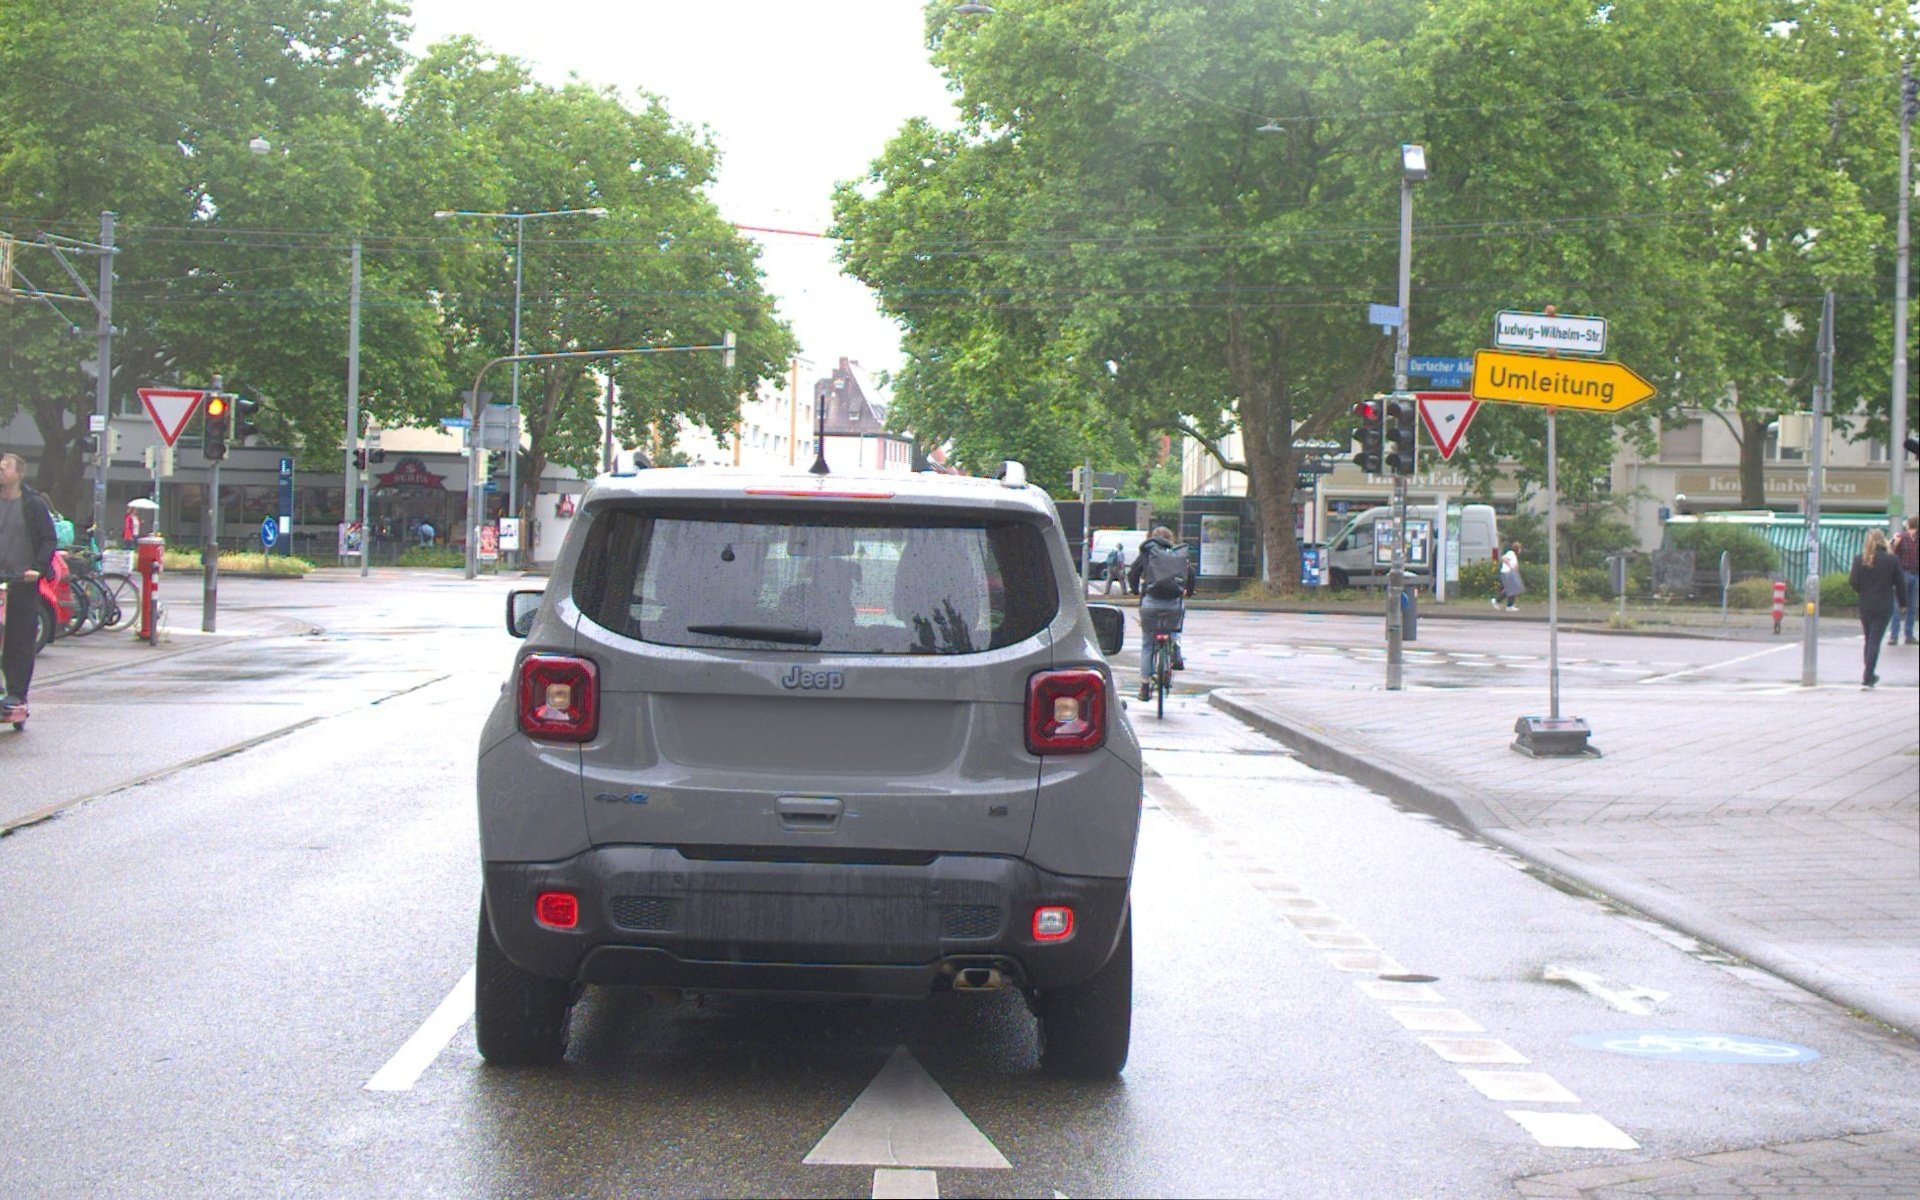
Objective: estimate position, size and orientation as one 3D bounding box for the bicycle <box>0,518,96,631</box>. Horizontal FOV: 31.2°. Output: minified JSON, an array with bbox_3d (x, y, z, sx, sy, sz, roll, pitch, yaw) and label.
[{"bbox_3d":[-10.831,-0.296,39.242,1.810,1.262,0.498,1,1,-1],"label":"bicycle"}]

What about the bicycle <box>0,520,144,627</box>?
[{"bbox_3d":[-10.884,-0.323,41.834,1.763,1.262,0.608,1,1,-1],"label":"bicycle"}]

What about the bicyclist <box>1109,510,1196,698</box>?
[{"bbox_3d":[1.670,0.024,29.922,0.687,1.612,0.884,0,1,-1],"label":"bicyclist"}]

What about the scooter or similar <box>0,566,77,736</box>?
[{"bbox_3d":[-6.848,0.347,24.686,0.700,1.161,1.385,1,1,-2],"label":"scooter or similar"}]

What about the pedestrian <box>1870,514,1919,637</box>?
[{"bbox_3d":[13.578,-0.364,49.721,0.786,1.753,0.945,1,1,15],"label":"pedestrian"}]

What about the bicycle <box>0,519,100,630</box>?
[{"bbox_3d":[-10.963,-0.307,39.927,1.810,1.262,0.498,1,1,-1],"label":"bicycle"}]

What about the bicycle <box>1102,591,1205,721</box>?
[{"bbox_3d":[1.668,0.461,29.999,0.691,1.018,2.658,0,1,-1],"label":"bicycle"}]

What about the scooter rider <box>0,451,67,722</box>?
[{"bbox_3d":[-6.848,-0.103,24.750,0.710,1.928,0.504,1,1,-2],"label":"scooter rider"}]

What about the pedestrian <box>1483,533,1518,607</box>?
[{"bbox_3d":[11.865,-0.663,75.435,0.613,1.598,0.493,2,1,24],"label":"pedestrian"}]

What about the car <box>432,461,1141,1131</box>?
[{"bbox_3d":[-0.471,0.446,10.574,1.775,1.681,3.848,0,1,-1],"label":"car"}]

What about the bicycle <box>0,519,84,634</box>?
[{"bbox_3d":[-10.811,-0.275,38.695,1.763,1.262,0.522,1,1,-1],"label":"bicycle"}]

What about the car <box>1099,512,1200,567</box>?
[{"bbox_3d":[6.948,-2.214,125.986,3.438,2.007,1.547,1,1,14],"label":"car"}]

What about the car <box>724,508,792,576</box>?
[{"bbox_3d":[-5.374,-1.559,91.293,1.721,1.733,3.730,1,1,-4],"label":"car"}]

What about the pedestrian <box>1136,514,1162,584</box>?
[{"bbox_3d":[5.458,-1.463,99.172,0.651,2.007,0.482,2,1,12],"label":"pedestrian"}]

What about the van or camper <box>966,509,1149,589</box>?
[{"bbox_3d":[3.722,-1.963,131.594,6.536,2.902,2.491,2,1,27],"label":"van or camper"}]

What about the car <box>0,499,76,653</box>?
[{"bbox_3d":[-10.948,-0.272,34.915,3.393,1.552,1.705,0,2,-39],"label":"car"}]

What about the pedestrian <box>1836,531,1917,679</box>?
[{"bbox_3d":[10.337,0.044,38.772,0.783,1.640,0.654,1,1,23],"label":"pedestrian"}]

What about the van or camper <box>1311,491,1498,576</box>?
[{"bbox_3d":[13.048,-1.961,101.238,5.260,2.307,2.090,2,2,4],"label":"van or camper"}]

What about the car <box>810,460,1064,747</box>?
[{"bbox_3d":[-0.179,-0.026,26.516,1.770,2.007,4.000,1,1,0],"label":"car"}]

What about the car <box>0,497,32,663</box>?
[{"bbox_3d":[-10.591,-0.217,31.928,3.393,1.552,1.705,0,2,-39],"label":"car"}]

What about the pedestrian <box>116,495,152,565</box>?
[{"bbox_3d":[-21.687,-1.850,90.249,0.692,1.820,0.620,1,1,16],"label":"pedestrian"}]
